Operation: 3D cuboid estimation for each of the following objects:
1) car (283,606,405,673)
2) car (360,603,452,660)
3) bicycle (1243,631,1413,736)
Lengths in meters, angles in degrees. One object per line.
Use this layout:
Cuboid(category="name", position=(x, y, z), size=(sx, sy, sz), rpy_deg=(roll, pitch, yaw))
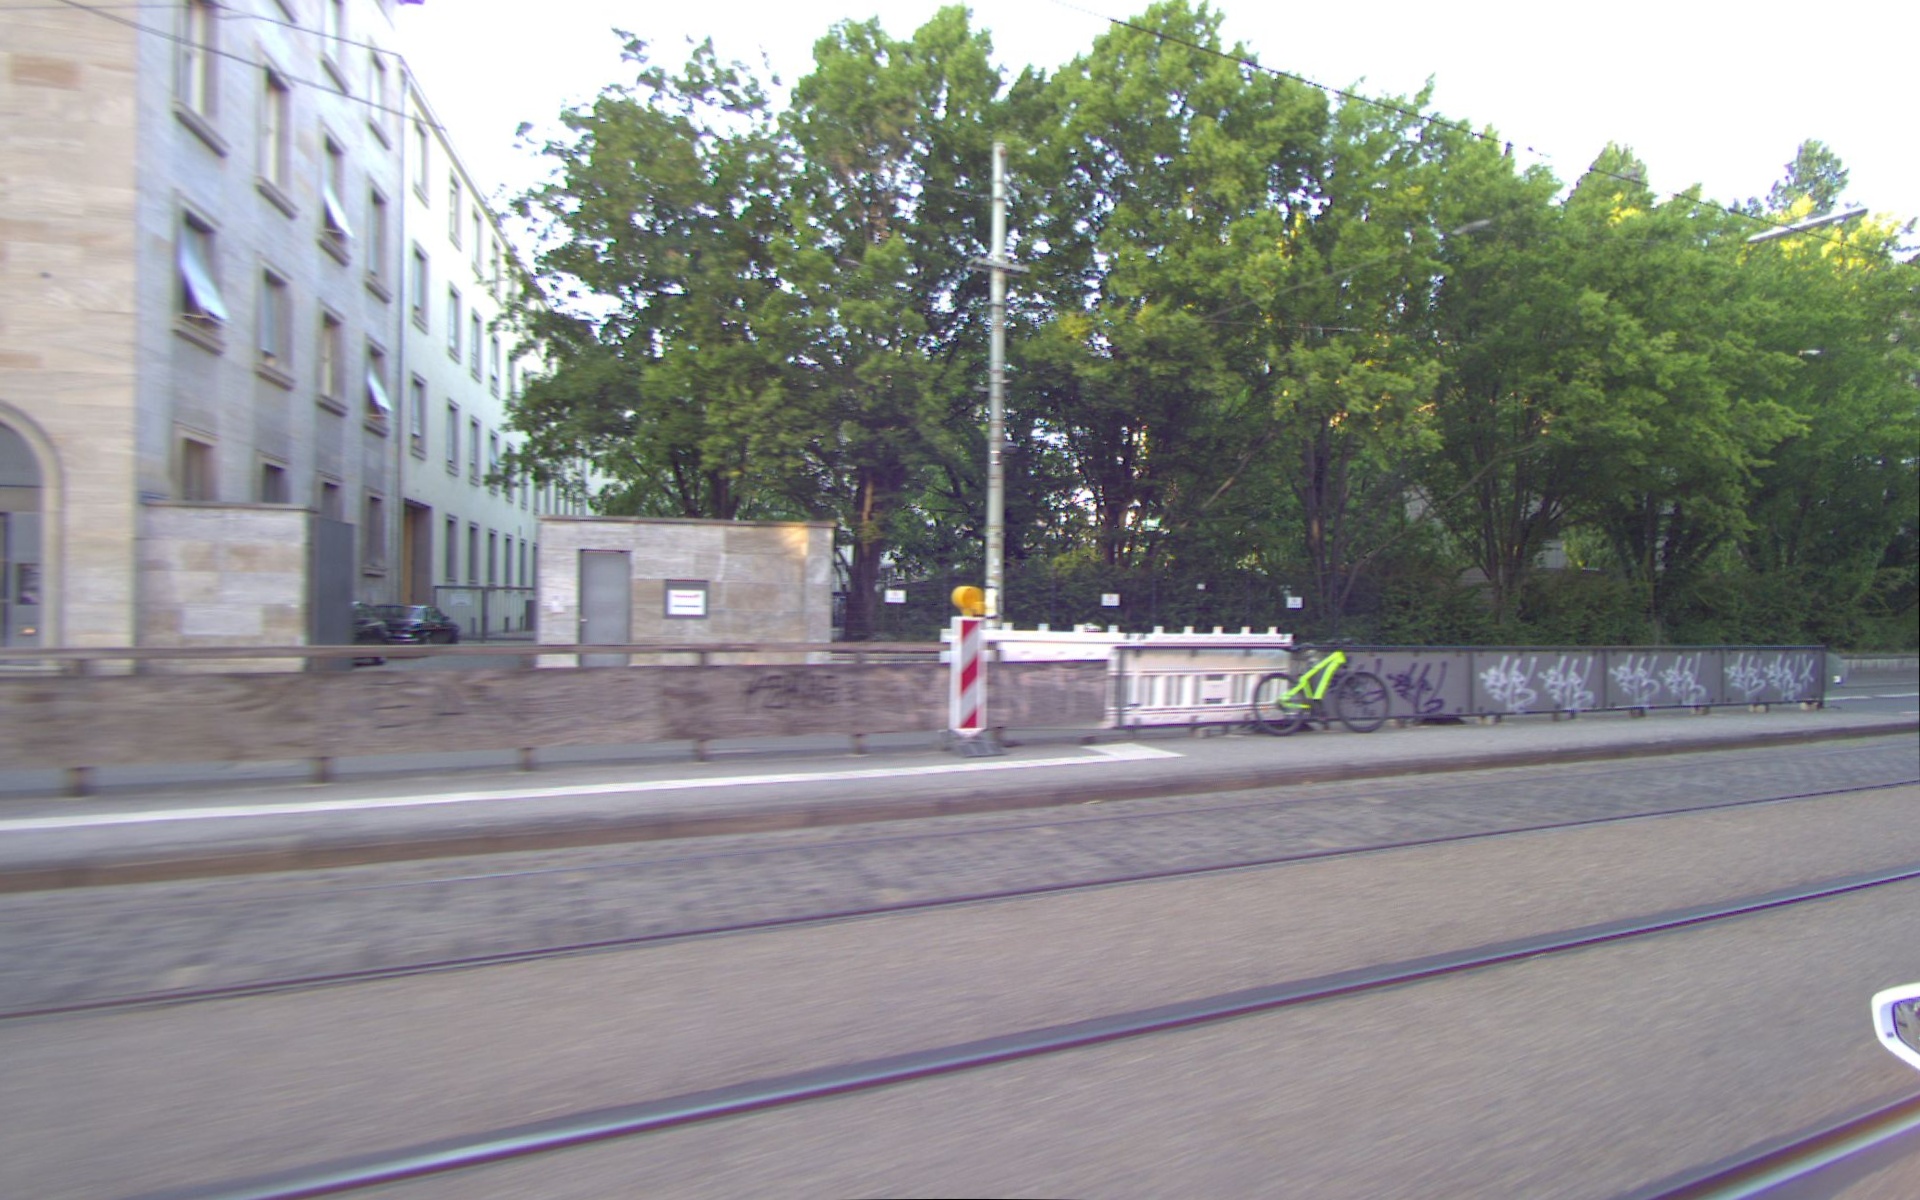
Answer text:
Cuboid(category="car", position=(-14.111, 0.854, 23.178), size=(1.453, 1.438, 3.178), rpy_deg=(0, 0, -13))
Cuboid(category="car", position=(-14.765, 0.817, 26.908), size=(1.370, 1.438, 3.006), rpy_deg=(0, 0, -13))
Cuboid(category="bicycle", position=(4.083, 0.891, 11.113), size=(1.993, 1.089, 0.461), rpy_deg=(1, -1, -23))
